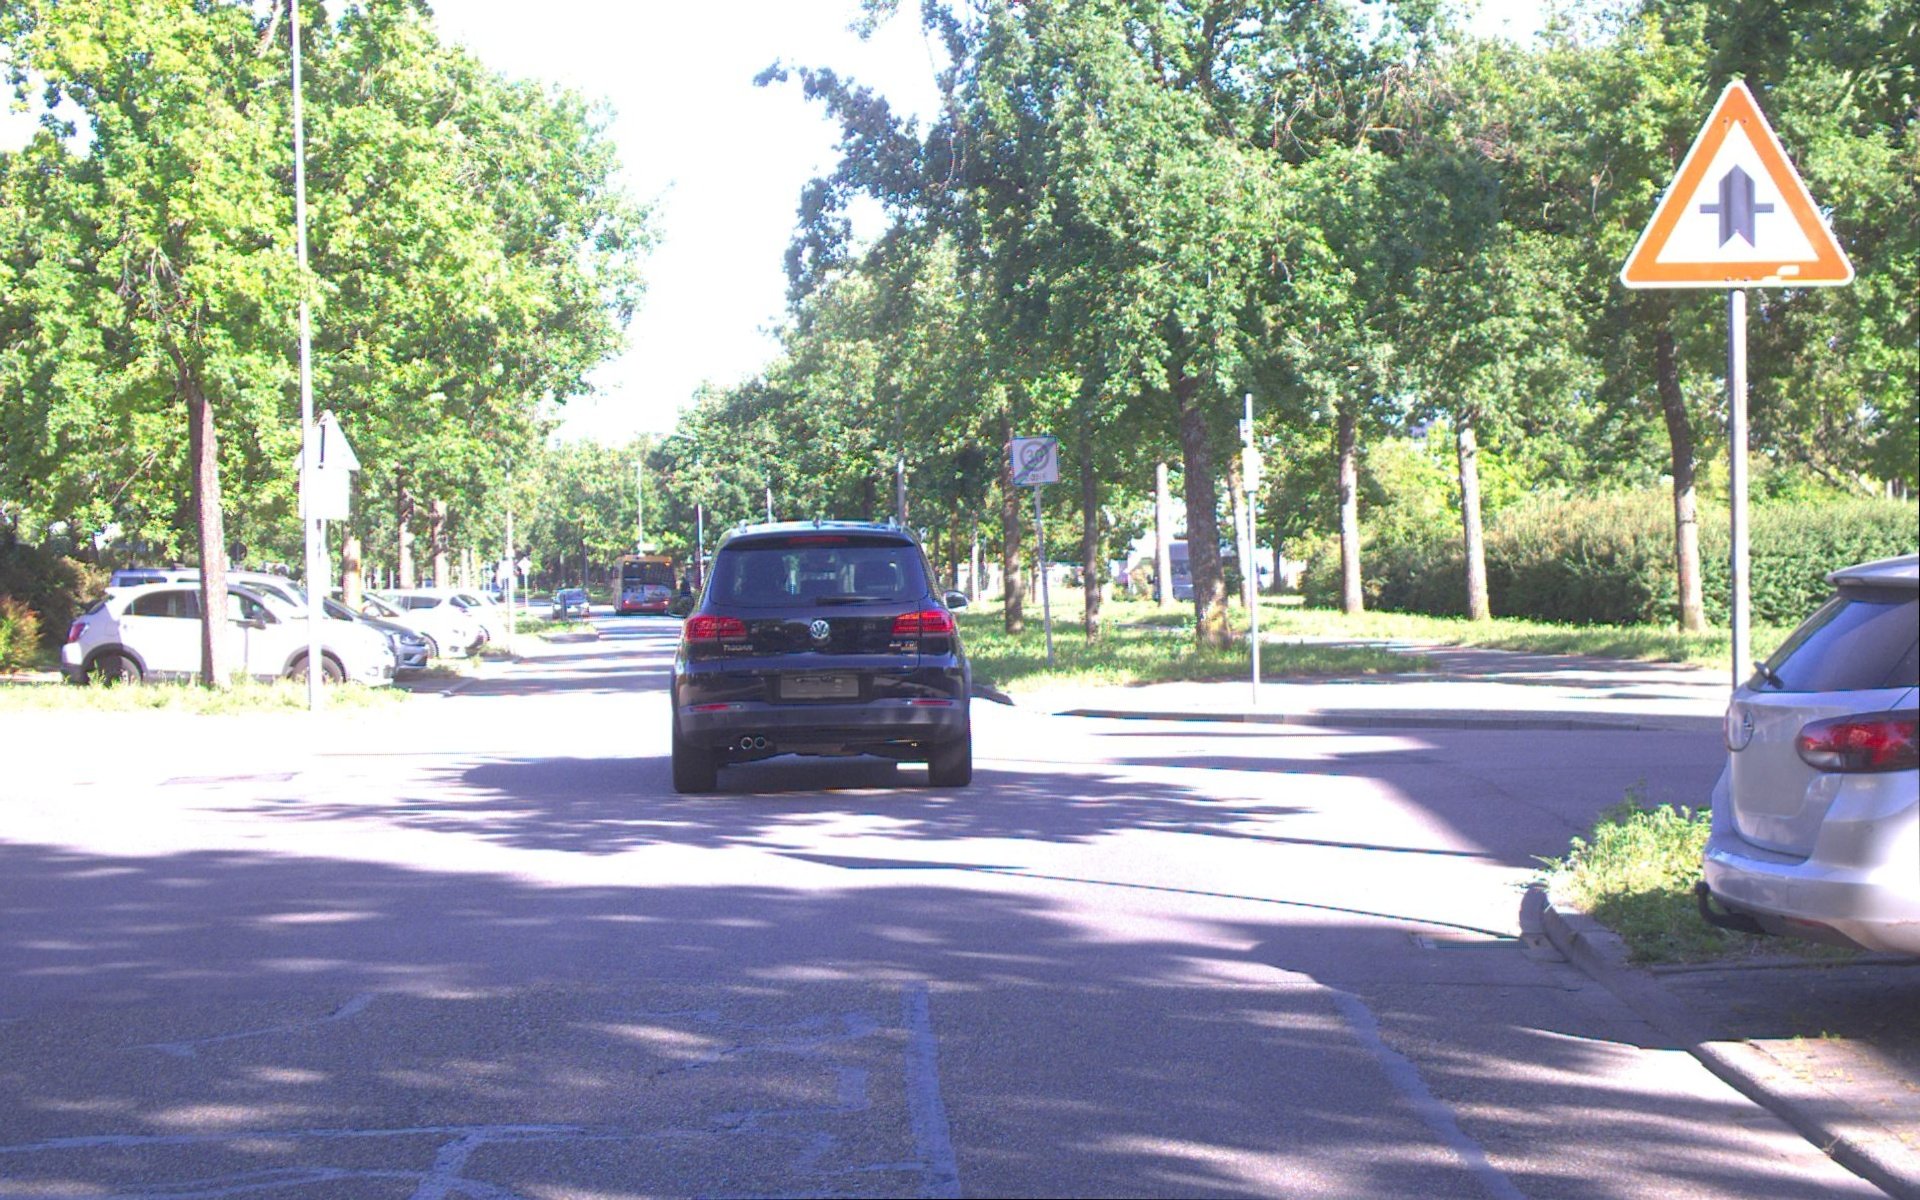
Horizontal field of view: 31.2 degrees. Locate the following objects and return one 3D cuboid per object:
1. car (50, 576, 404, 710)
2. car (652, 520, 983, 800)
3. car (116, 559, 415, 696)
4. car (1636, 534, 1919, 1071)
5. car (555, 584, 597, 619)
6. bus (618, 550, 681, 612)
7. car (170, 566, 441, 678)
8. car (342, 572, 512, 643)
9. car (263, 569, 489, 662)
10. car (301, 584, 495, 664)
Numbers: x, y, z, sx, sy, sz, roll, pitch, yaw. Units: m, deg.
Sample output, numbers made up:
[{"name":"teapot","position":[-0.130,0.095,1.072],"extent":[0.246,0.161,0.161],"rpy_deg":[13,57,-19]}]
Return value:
[{"name":"car","position":[-9.518,0.547,44.906],"extent":[4.241,1.617,1.897],"rpy_deg":[-1,0,-3]},{"name":"car","position":[-0.828,0.335,22.232],"extent":[1.838,1.631,3.958],"rpy_deg":[-1,1,2]},{"name":"car","position":[-10.117,0.378,50.310],"extent":[4.016,1.833,1.897],"rpy_deg":[-2,1,-3]},{"name":"car","position":[4.512,0.491,10.614],"extent":[4.428,1.486,1.797],"rpy_deg":[-2,1,-1]},{"name":"car","position":[-19.136,0.090,171.556],"extent":[1.852,1.687,3.956],"rpy_deg":[-2,0,-3]},{"name":"bus","position":[-15.710,-0.922,174.379],"extent":[2.928,2.993,5.737],"rpy_deg":[-2,0,-3]},{"name":"car","position":[-10.481,0.341,55.263],"extent":[4.016,1.642,1.897],"rpy_deg":[-2,1,-3]},{"name":"car","position":[-13.339,0.172,86.263],"extent":[4.016,1.642,1.811],"rpy_deg":[-2,1,-3]},{"name":"car","position":[-11.049,0.288,65.268],"extent":[4.016,1.642,1.811],"rpy_deg":[-1,0,-3]},{"name":"car","position":[-12.345,0.520,75.718],"extent":[4.016,1.642,1.811],"rpy_deg":[-1,0,-3]}]
